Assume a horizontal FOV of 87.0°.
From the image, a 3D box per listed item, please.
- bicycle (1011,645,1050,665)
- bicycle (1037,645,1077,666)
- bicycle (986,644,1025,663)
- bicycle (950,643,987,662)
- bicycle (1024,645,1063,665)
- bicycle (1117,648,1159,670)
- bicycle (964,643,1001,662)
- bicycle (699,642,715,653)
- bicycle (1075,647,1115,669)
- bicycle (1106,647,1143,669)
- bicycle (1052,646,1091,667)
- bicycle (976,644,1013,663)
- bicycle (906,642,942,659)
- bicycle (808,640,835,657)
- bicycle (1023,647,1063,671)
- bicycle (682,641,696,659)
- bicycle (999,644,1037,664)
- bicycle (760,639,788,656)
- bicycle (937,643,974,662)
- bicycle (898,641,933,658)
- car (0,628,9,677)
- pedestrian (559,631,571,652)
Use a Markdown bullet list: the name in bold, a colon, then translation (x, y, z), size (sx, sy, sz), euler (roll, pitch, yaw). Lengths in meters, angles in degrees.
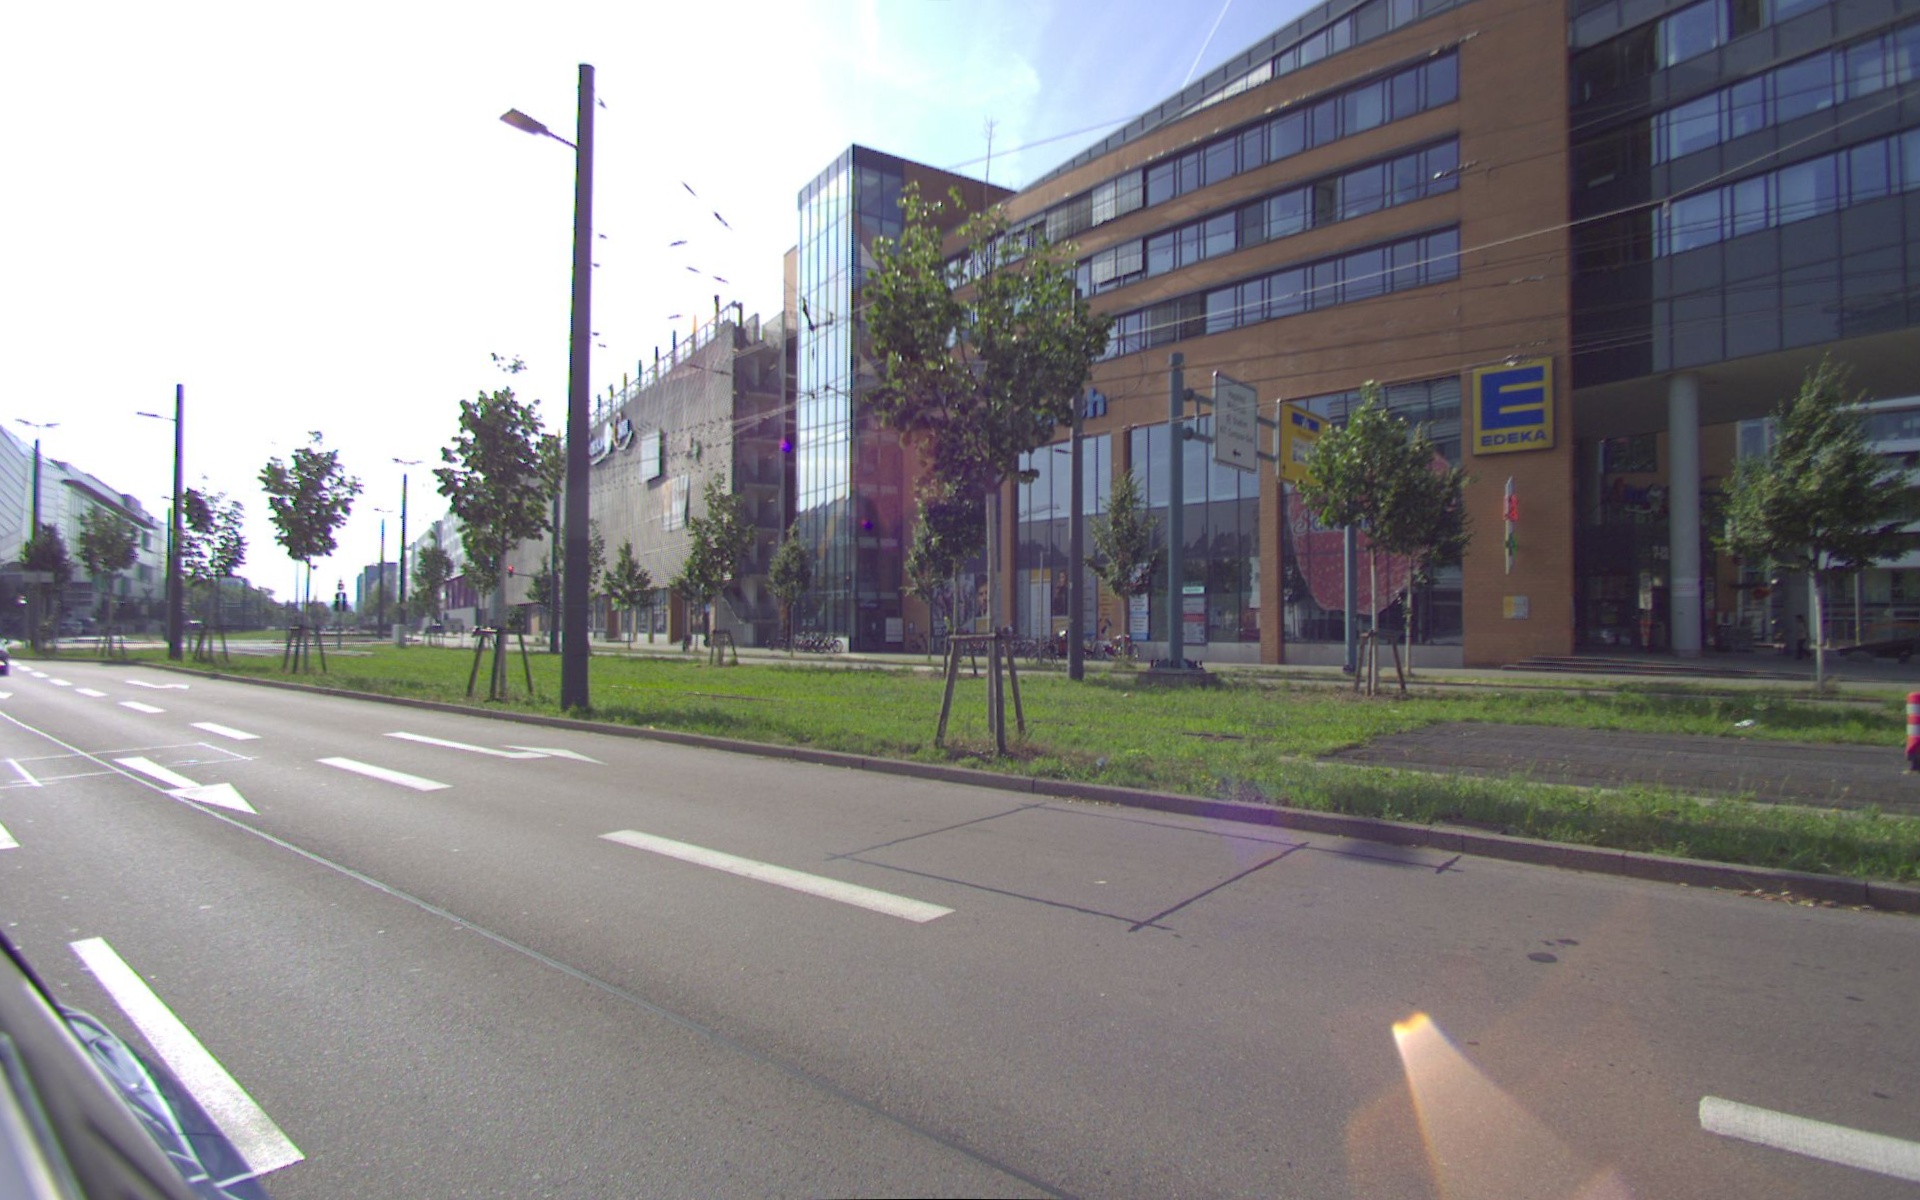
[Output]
- **bicycle**: translation (3.444, 2.656, 49.146), size (2.022, 0.928, 0.574), euler (1, -2, -38)
- **bicycle**: translation (4.599, 2.627, 47.826), size (2.022, 0.928, 0.574), euler (1, -2, -38)
- **bicycle**: translation (2.277, 2.676, 50.493), size (2.022, 0.928, 0.574), euler (1, -2, -38)
- **bicycle**: translation (0.429, 2.727, 52.494), size (2.022, 0.928, 0.574), euler (1, -2, -38)
- **bicycle**: translation (3.992, 2.635, 48.481), size (2.022, 0.928, 0.574), euler (1, -2, -38)
- **bicycle**: translation (7.739, 2.563, 43.991), size (2.022, 0.928, 0.574), euler (1, -2, -38)
- **bicycle**: translation (1.161, 2.676, 51.799), size (2.022, 0.928, 0.574), euler (1, -2, -38)
- **bicycle**: translation (-17.630, 3.319, 70.409), size (0.989, 0.758, 0.453), euler (1, -2, -32)
- **bicycle**: translation (6.119, 2.609, 45.741), size (2.022, 0.928, 0.574), euler (1, -2, -38)
- **bicycle**: translation (7.251, 2.560, 44.545), size (2.022, 0.928, 0.381), euler (1, -2, -39)
- **bicycle**: translation (5.200, 2.614, 47.152), size (2.022, 0.928, 0.574), euler (1, -2, -38)
- **bicycle**: translation (1.749, 2.681, 51.151), size (2.022, 0.928, 0.574), euler (1, -2, -38)
- **bicycle**: translation (-1.978, 2.767, 55.831), size (2.022, 0.928, 0.574), euler (1, -2, -38)
- **bicycle**: translation (-7.962, 2.806, 58.187), size (1.557, 0.947, 0.412), euler (1, -2, -34)
- **bicycle**: translation (3.367, 2.394, 41.017), size (0.710, 0.914, 1.656), euler (-1, -2, 45)
- **bicycle**: translation (-16.694, 3.062, 62.354), size (0.438, 0.995, 2.171), euler (2, -1, -24)
- **bicycle**: translation (2.849, 2.656, 49.773), size (2.022, 0.928, 0.574), euler (1, -2, -38)
- **bicycle**: translation (-11.104, 2.830, 60.361), size (1.557, 0.947, 0.474), euler (1, -2, -34)
- **bicycle**: translation (-0.230, 2.770, 53.457), size (2.022, 0.928, 0.574), euler (1, -2, -38)
- **bicycle**: translation (-2.456, 2.765, 56.394), size (2.022, 0.928, 0.574), euler (1, -2, -38)
- **car**: translation (-30.024, 1.549, 30.458), size (3.893, 1.430, 1.622), euler (-1, -2, 41)
- **pedestrian**: translation (-30.383, 3.201, 77.870), size (0.751, 1.591, 0.591), euler (2, -3, -37)
